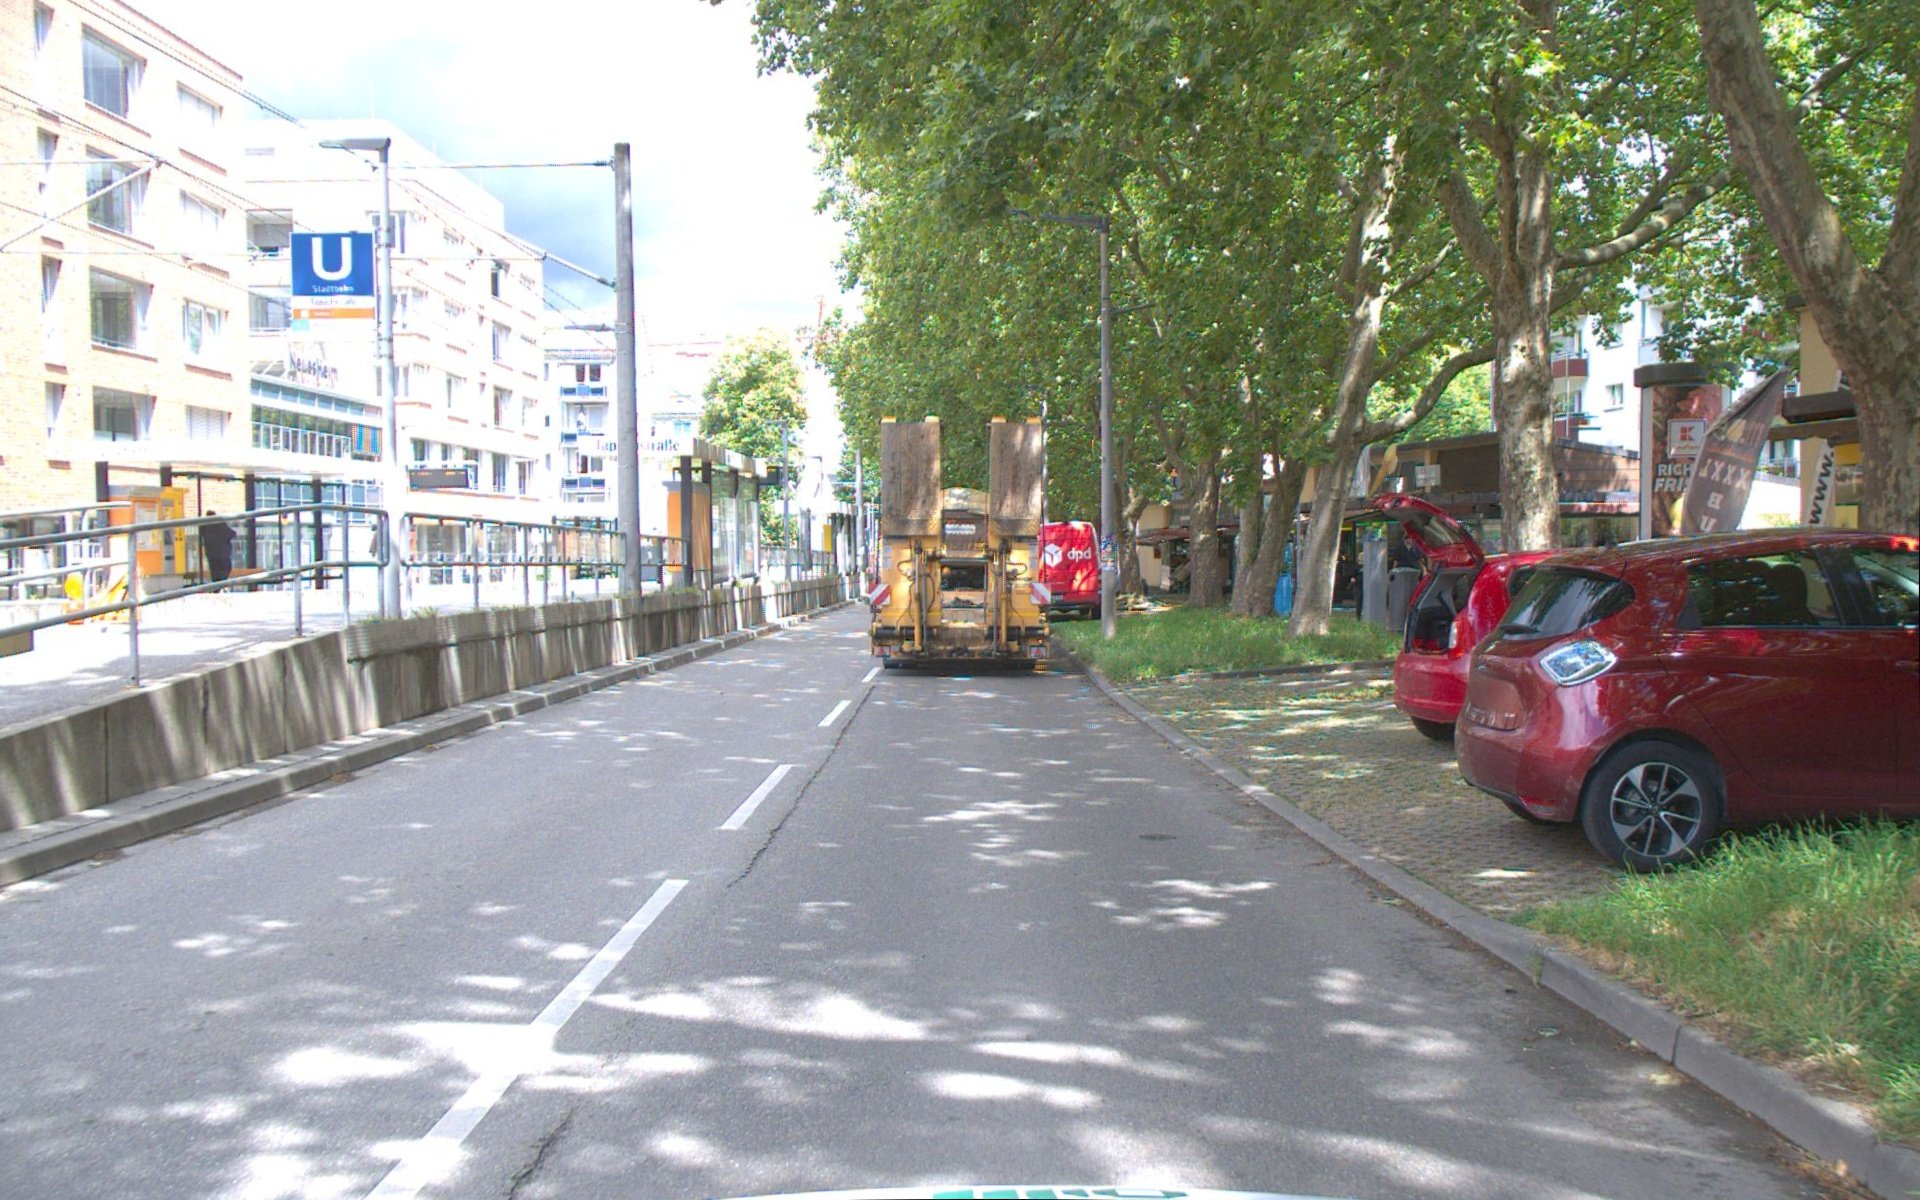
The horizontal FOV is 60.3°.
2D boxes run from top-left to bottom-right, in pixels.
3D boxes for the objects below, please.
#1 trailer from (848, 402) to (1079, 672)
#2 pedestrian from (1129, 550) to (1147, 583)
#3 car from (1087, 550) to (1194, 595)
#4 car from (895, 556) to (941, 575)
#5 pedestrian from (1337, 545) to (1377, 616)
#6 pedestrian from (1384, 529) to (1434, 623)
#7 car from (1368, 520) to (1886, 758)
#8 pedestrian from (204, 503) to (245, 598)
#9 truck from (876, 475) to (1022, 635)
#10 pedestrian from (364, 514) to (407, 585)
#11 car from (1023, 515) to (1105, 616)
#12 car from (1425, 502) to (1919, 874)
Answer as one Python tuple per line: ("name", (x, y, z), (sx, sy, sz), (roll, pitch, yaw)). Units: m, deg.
("trailer", (-0.083, -0.967, 28.022), (3.090, 3.614, 11.095), (1, 1, -1))
("pedestrian", (7.762, -1.448, 72.083), (0.681, 1.416, 0.512), (-1, 1, -4))
("car", (6.843, -1.059, 62.796), (3.756, 1.589, 1.618), (-2, 1, -7))
("car", (-4.747, -3.902, 186.917), (5.003, 2.138, 1.970), (0, 1, -14))
("pedestrian", (8.444, -0.421, 35.183), (0.612, 1.472, 1.029), (0, 1, 0))
("pedestrian", (9.465, -0.508, 34.897), (0.728, 1.916, 0.941), (-2, 0, 0))
("car", (5.098, 0.264, 12.903), (3.340, 1.541, 1.609), (-3, 1, -4))
("pedestrian", (-14.018, -0.944, 31.530), (0.523, 1.794, 0.528), (0, 1, -3))
("truck", (-0.362, -0.990, 37.538), (2.929, 3.189, 7.885), (1, 1, -2))
("pedestrian", (-13.698, -1.207, 39.440), (0.736, 1.657, 0.816), (1, 1, 0))
("car", (2.880, -0.985, 47.162), (1.865, 2.626, 6.834), (-2, 1, 0))
("car", (4.655, 0.335, 8.614), (3.946, 1.639, 1.731), (-4, 1, 2))
